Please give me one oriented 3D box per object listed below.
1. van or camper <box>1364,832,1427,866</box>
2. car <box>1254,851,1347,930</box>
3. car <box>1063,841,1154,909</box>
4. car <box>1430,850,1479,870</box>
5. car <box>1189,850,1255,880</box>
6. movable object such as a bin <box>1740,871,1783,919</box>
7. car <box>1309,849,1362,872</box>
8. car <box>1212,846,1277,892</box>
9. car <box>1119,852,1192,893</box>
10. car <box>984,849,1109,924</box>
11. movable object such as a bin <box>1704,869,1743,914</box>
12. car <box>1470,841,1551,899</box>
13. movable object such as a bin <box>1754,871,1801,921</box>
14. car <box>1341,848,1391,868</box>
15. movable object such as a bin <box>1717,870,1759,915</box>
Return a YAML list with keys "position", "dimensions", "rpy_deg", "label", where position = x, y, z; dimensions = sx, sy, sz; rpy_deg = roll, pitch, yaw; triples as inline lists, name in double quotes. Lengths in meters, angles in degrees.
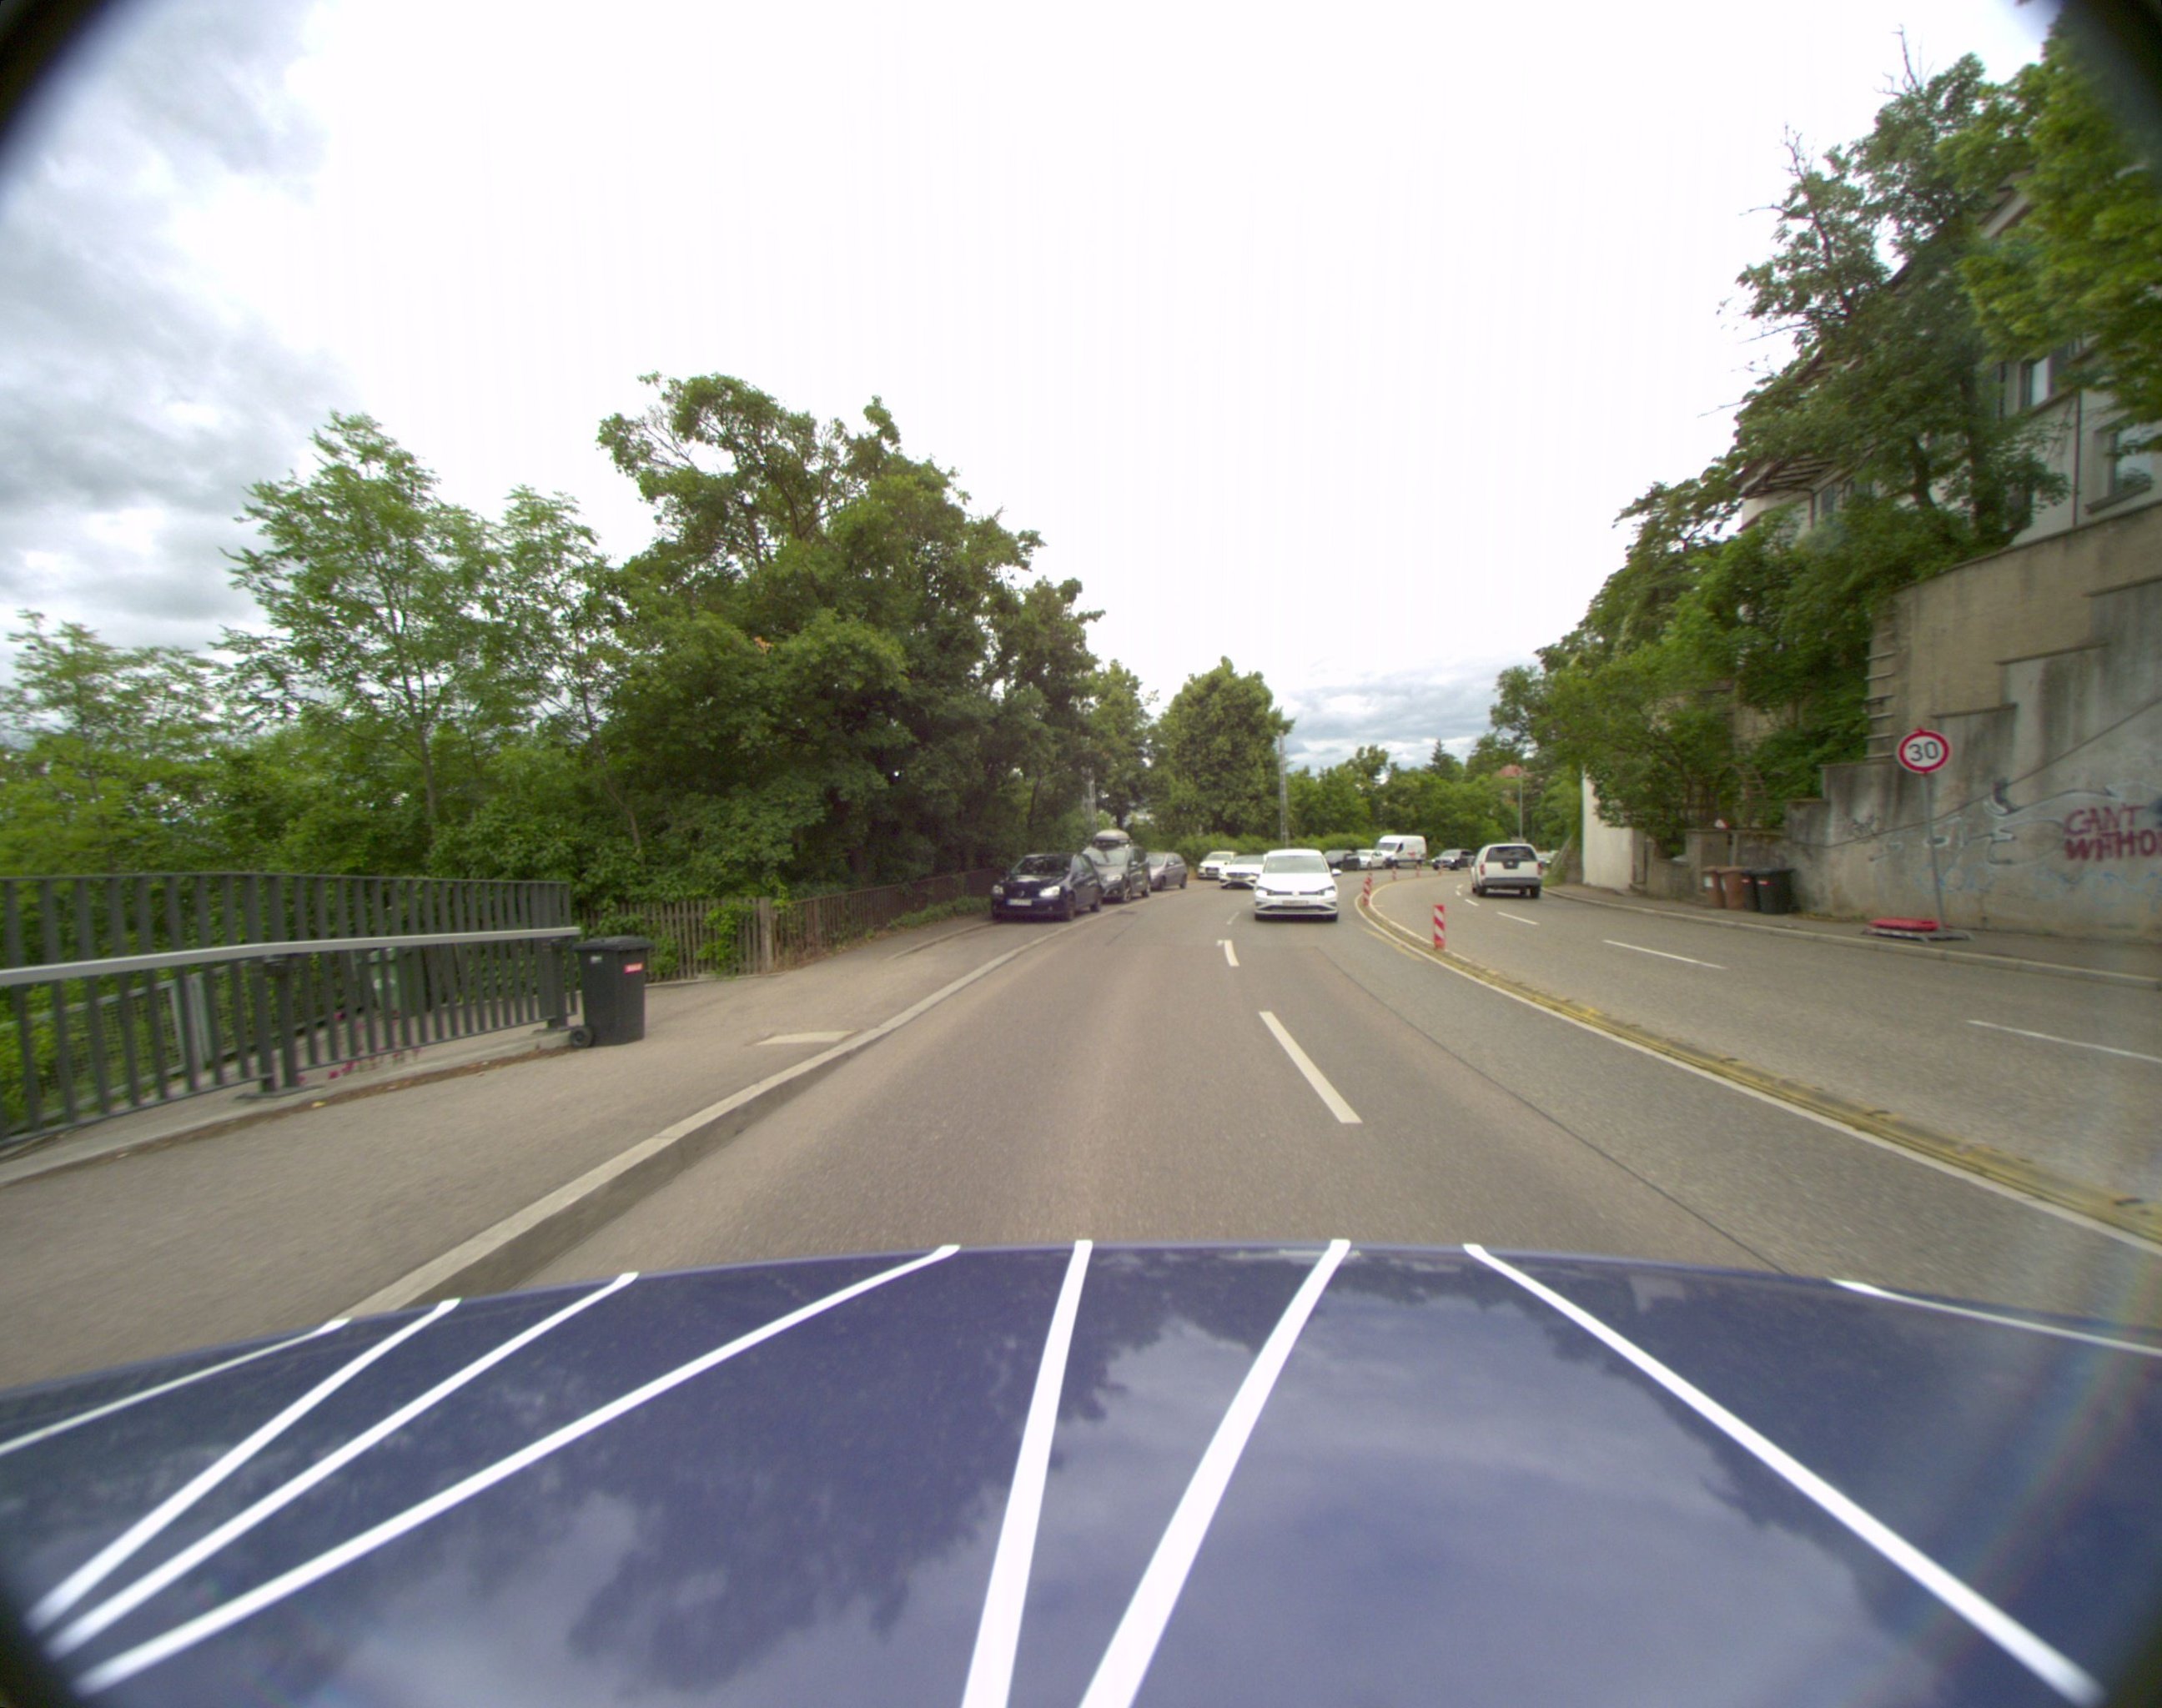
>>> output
- position: [24.972, -0.407, 60.200]
  dimensions: [5.432, 2.613, 2.261]
  rpy_deg: [-1, 1, -39]
  label: "van or camper"
- position: [5.022, 0.750, 17.889]
  dimensions: [1.824, 1.571, 4.359]
  rpy_deg: [0, 1, 12]
  label: "car"
- position: [0.947, 0.549, 23.084]
  dimensions: [1.695, 1.821, 4.409]
  rpy_deg: [2, 1, 16]
  label: "car"
- position: [29.049, 0.432, 59.068]
  dimensions: [4.150, 1.485, 1.897]
  rpy_deg: [-1, 0, -41]
  label: "car"
- position: [7.276, 0.527, 38.957]
  dimensions: [1.929, 1.425, 4.008]
  rpy_deg: [1, 1, 32]
  label: "car"
- position: [13.758, 0.820, 15.365]
  dimensions: [0.527, 0.957, 0.401]
  rpy_deg: [-1, 1, 17]
  label: "movable object such as a bin"
- position: [17.415, 0.428, 51.891]
  dimensions: [1.929, 1.425, 4.107]
  rpy_deg: [-1, 0, 43]
  label: "car"
- position: [6.882, 0.563, 31.677]
  dimensions: [1.995, 1.708, 4.006]
  rpy_deg: [2, 1, 21]
  label: "car"
- position: [2.923, 0.677, 29.090]
  dimensions: [1.930, 1.425, 4.005]
  rpy_deg: [-1, 0, 18]
  label: "car"
- position: [-0.654, 0.694, 17.457]
  dimensions: [1.696, 1.513, 3.922]
  rpy_deg: [0, -1, 16]
  label: "car"
- position: [14.188, 0.817, 16.779]
  dimensions: [0.527, 0.957, 0.431]
  rpy_deg: [-1, 1, 17]
  label: "movable object such as a bin"
- position: [14.805, 0.494, 26.463]
  dimensions: [1.995, 1.818, 5.154]
  rpy_deg: [-1, 0, 24]
  label: "car"
- position: [13.568, 0.813, 14.820]
  dimensions: [0.527, 0.957, 0.460]
  rpy_deg: [-1, 1, 17]
  label: "movable object such as a bin"
- position: [21.040, 0.295, 56.035]
  dimensions: [4.107, 1.425, 1.871]
  rpy_deg: [-1, 0, -43]
  label: "car"
- position: [14.066, 0.823, 16.270]
  dimensions: [0.527, 0.925, 0.482]
  rpy_deg: [-1, 1, 17]
  label: "movable object such as a bin"
